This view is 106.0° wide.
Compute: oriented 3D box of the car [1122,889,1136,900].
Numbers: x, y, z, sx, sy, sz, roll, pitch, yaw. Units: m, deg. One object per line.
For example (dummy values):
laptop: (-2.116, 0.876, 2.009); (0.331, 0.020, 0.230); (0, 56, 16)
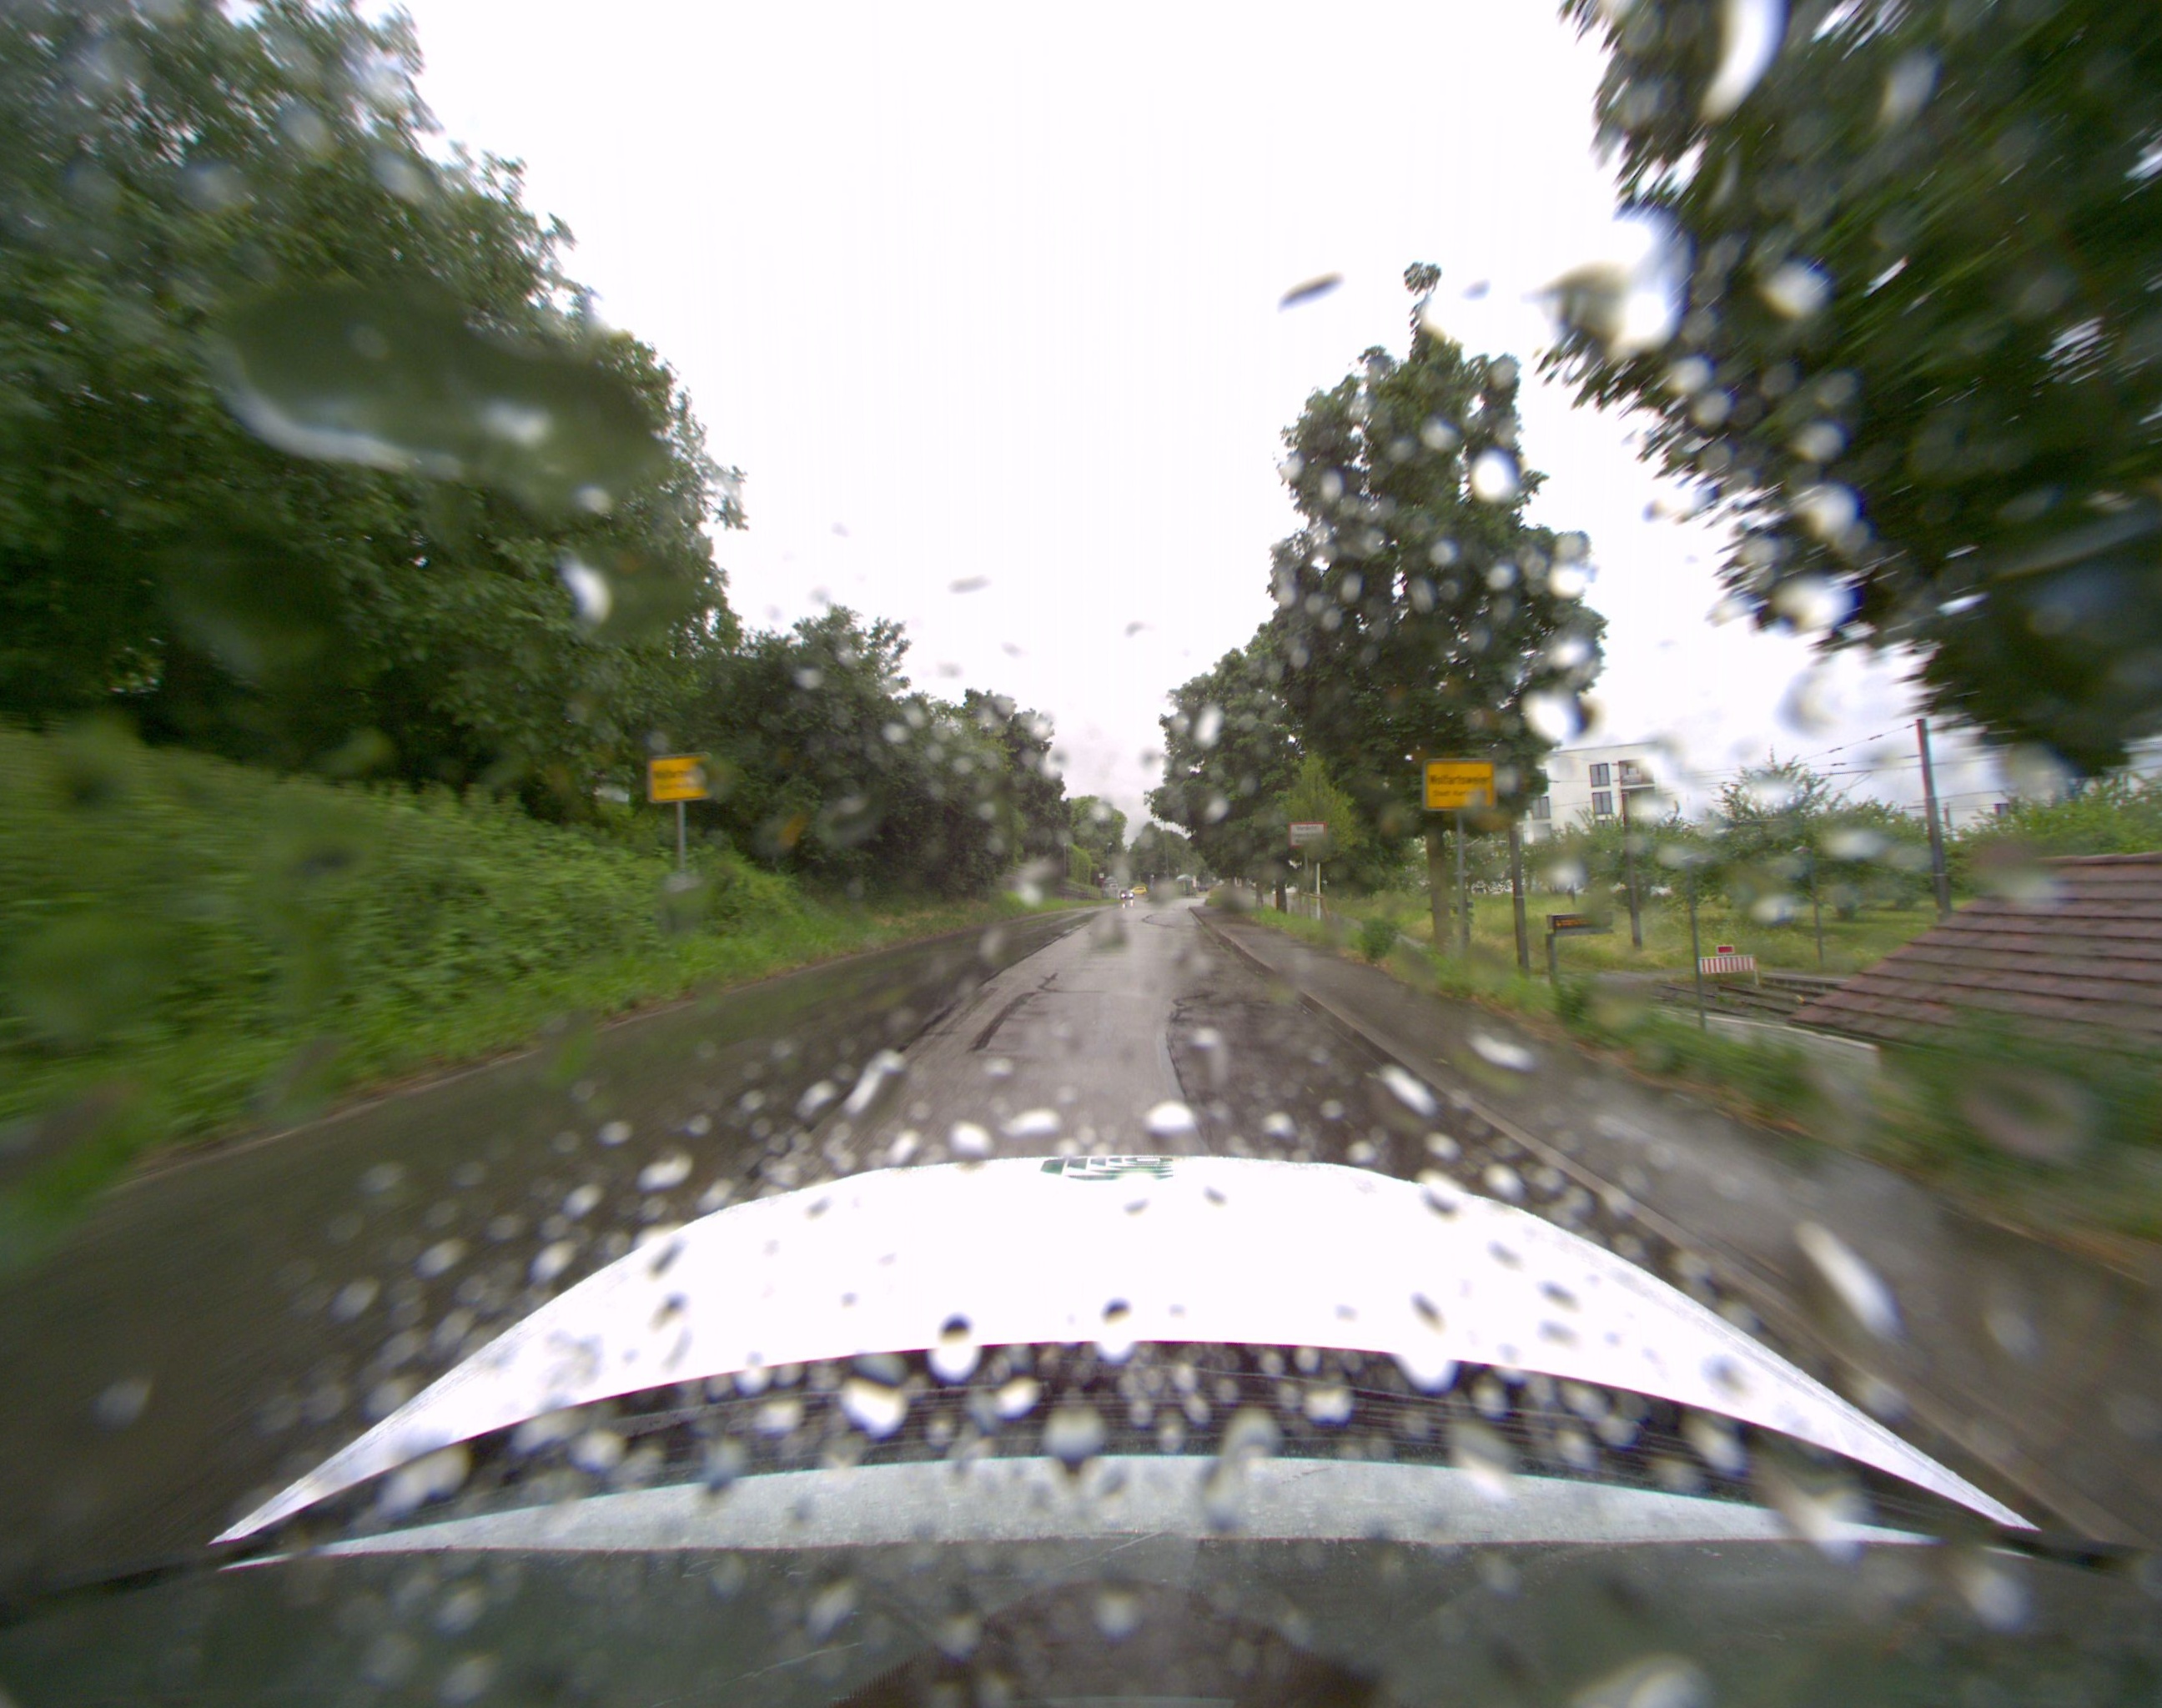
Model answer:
car: (7.199, 6.155, 122.209); (1.754, 1.503, 4.141); (-4, -3, 1)

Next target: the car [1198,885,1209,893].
car: (26.820, 7.670, 178.428); (1.683, 1.438, 3.610); (-2, -1, -1)
